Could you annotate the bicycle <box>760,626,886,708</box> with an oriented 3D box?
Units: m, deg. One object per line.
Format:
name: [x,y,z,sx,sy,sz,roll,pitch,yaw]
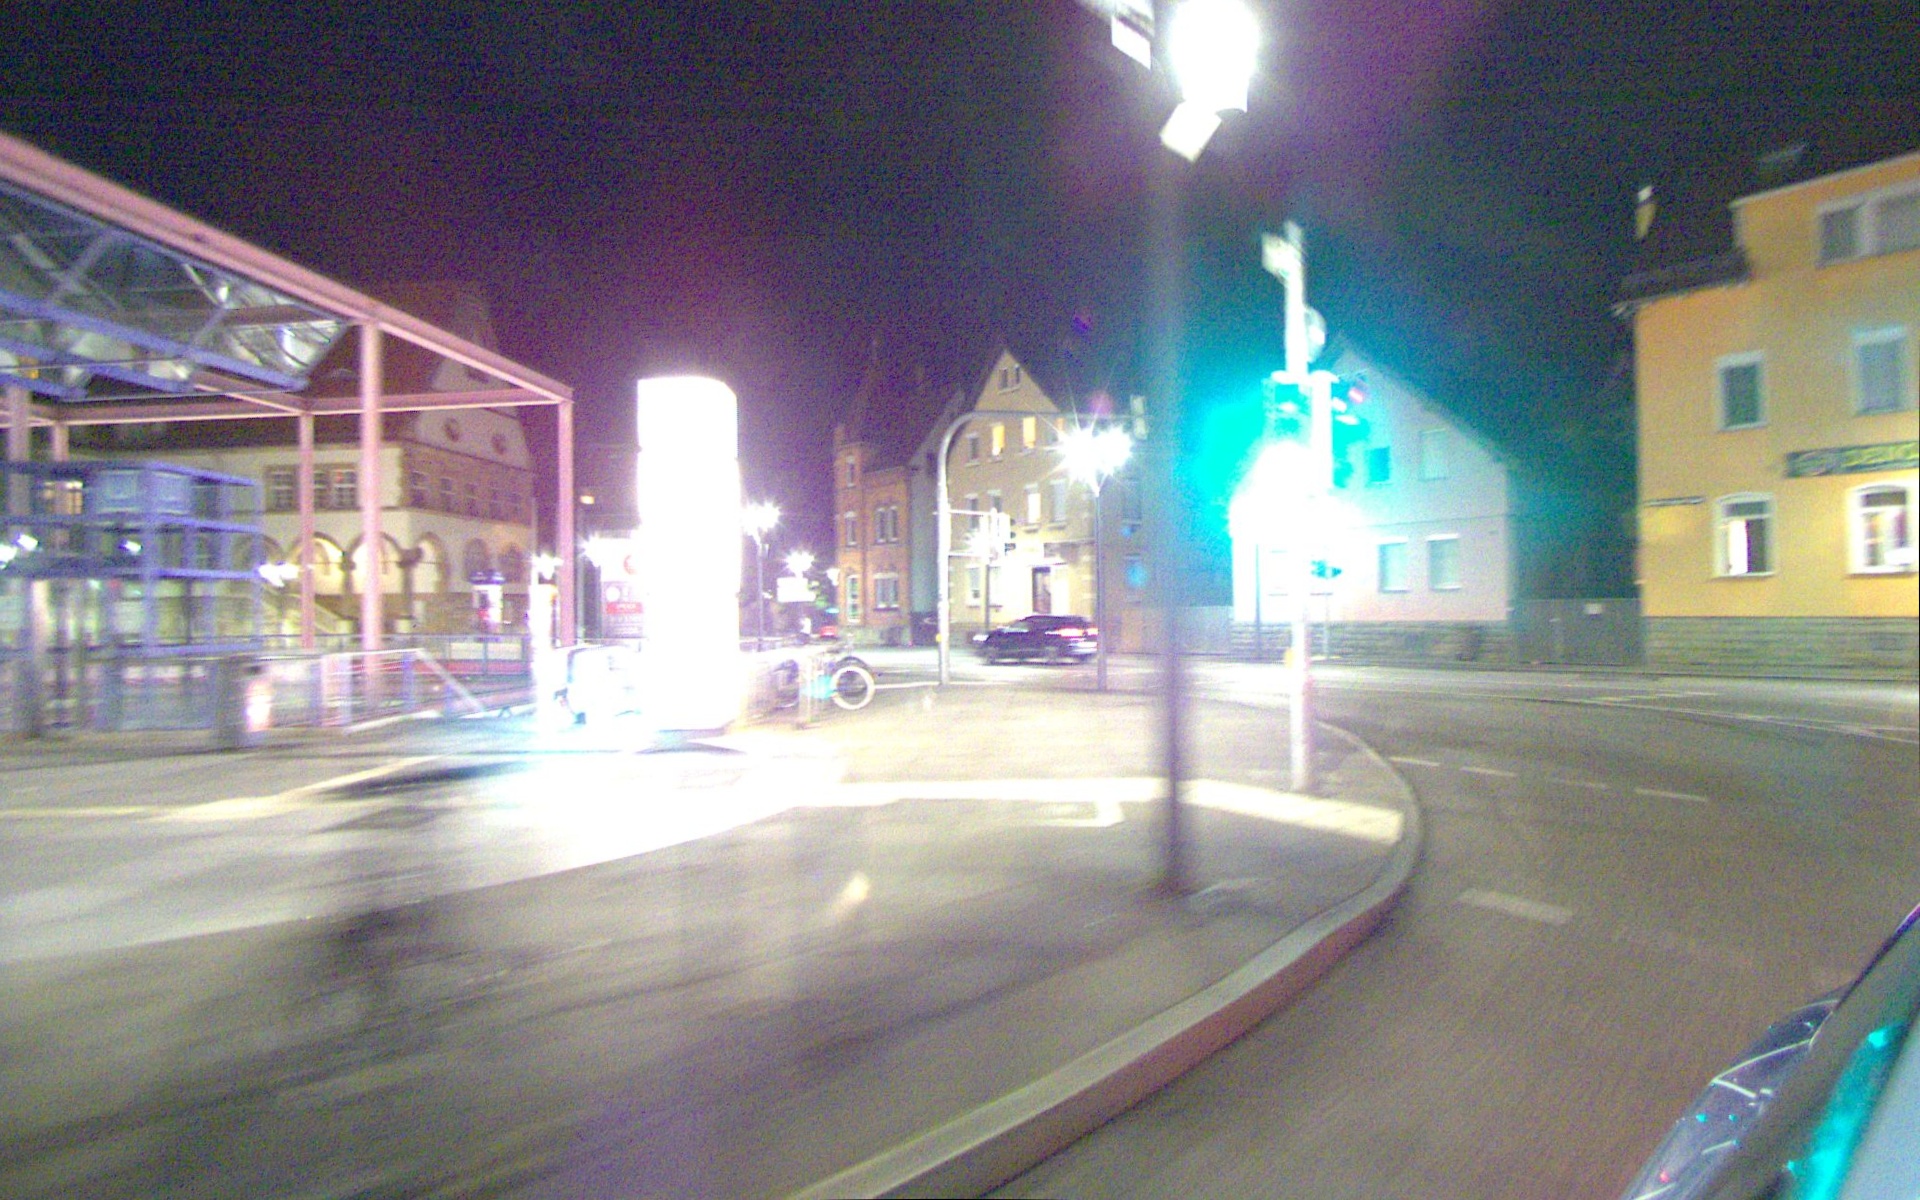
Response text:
bicycle: [-2.016,0.986,14.997,1.769,1.142,0.650,-1,-1,-1]

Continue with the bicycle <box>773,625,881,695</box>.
bicycle: [-2.280,1.020,17.437,1.769,1.142,0.650,-1,-1,-1]

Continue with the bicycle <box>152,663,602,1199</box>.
bicycle: [-1.720,0.798,2.839,0.813,1.155,1.658,0,-1,-40]

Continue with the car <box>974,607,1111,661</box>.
car: [2.613,1.079,32.672,4.224,1.605,1.716,-2,-1,41]
